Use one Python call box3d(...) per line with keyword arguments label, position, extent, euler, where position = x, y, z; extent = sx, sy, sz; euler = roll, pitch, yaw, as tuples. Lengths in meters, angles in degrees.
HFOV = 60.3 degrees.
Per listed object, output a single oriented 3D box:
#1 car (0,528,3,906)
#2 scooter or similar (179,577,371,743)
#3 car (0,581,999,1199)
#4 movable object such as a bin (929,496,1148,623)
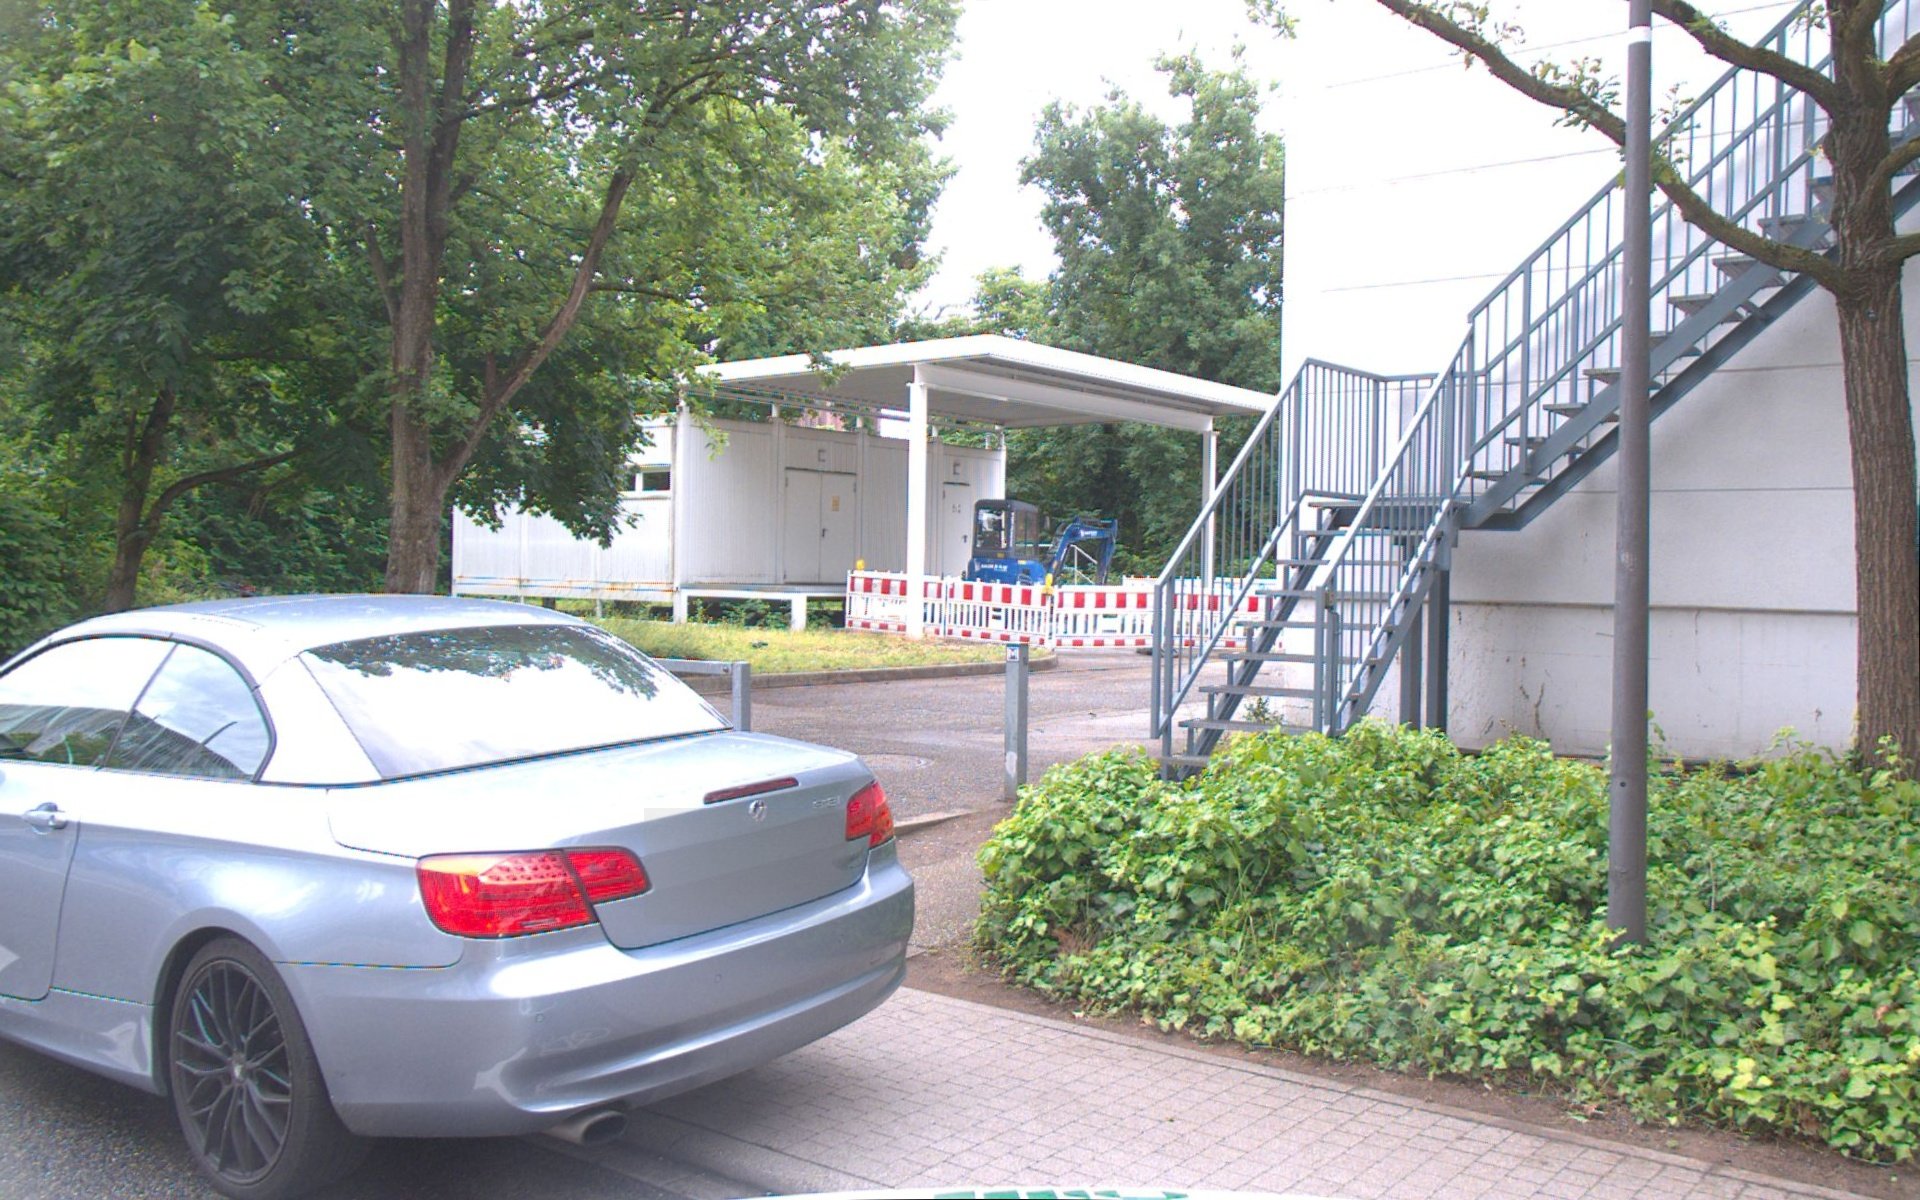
box3d(label="car", position=(-6.108, 0.489, 7.534), extent=(3.802, 1.613, 1.714), euler=(1, 1, 37))
box3d(label="scooter or similar", position=(-5.203, 0.446, 12.613), extent=(1.279, 1.231, 0.449), euler=(0, 1, -12))
box3d(label="car", position=(-2.075, 0.679, 5.260), extent=(4.110, 1.413, 1.817), euler=(1, 1, 36))
box3d(label="movable object such as a bin", position=(1.574, -0.696, 31.219), extent=(1.959, 2.209, 4.655), euler=(1, 0, 34))
